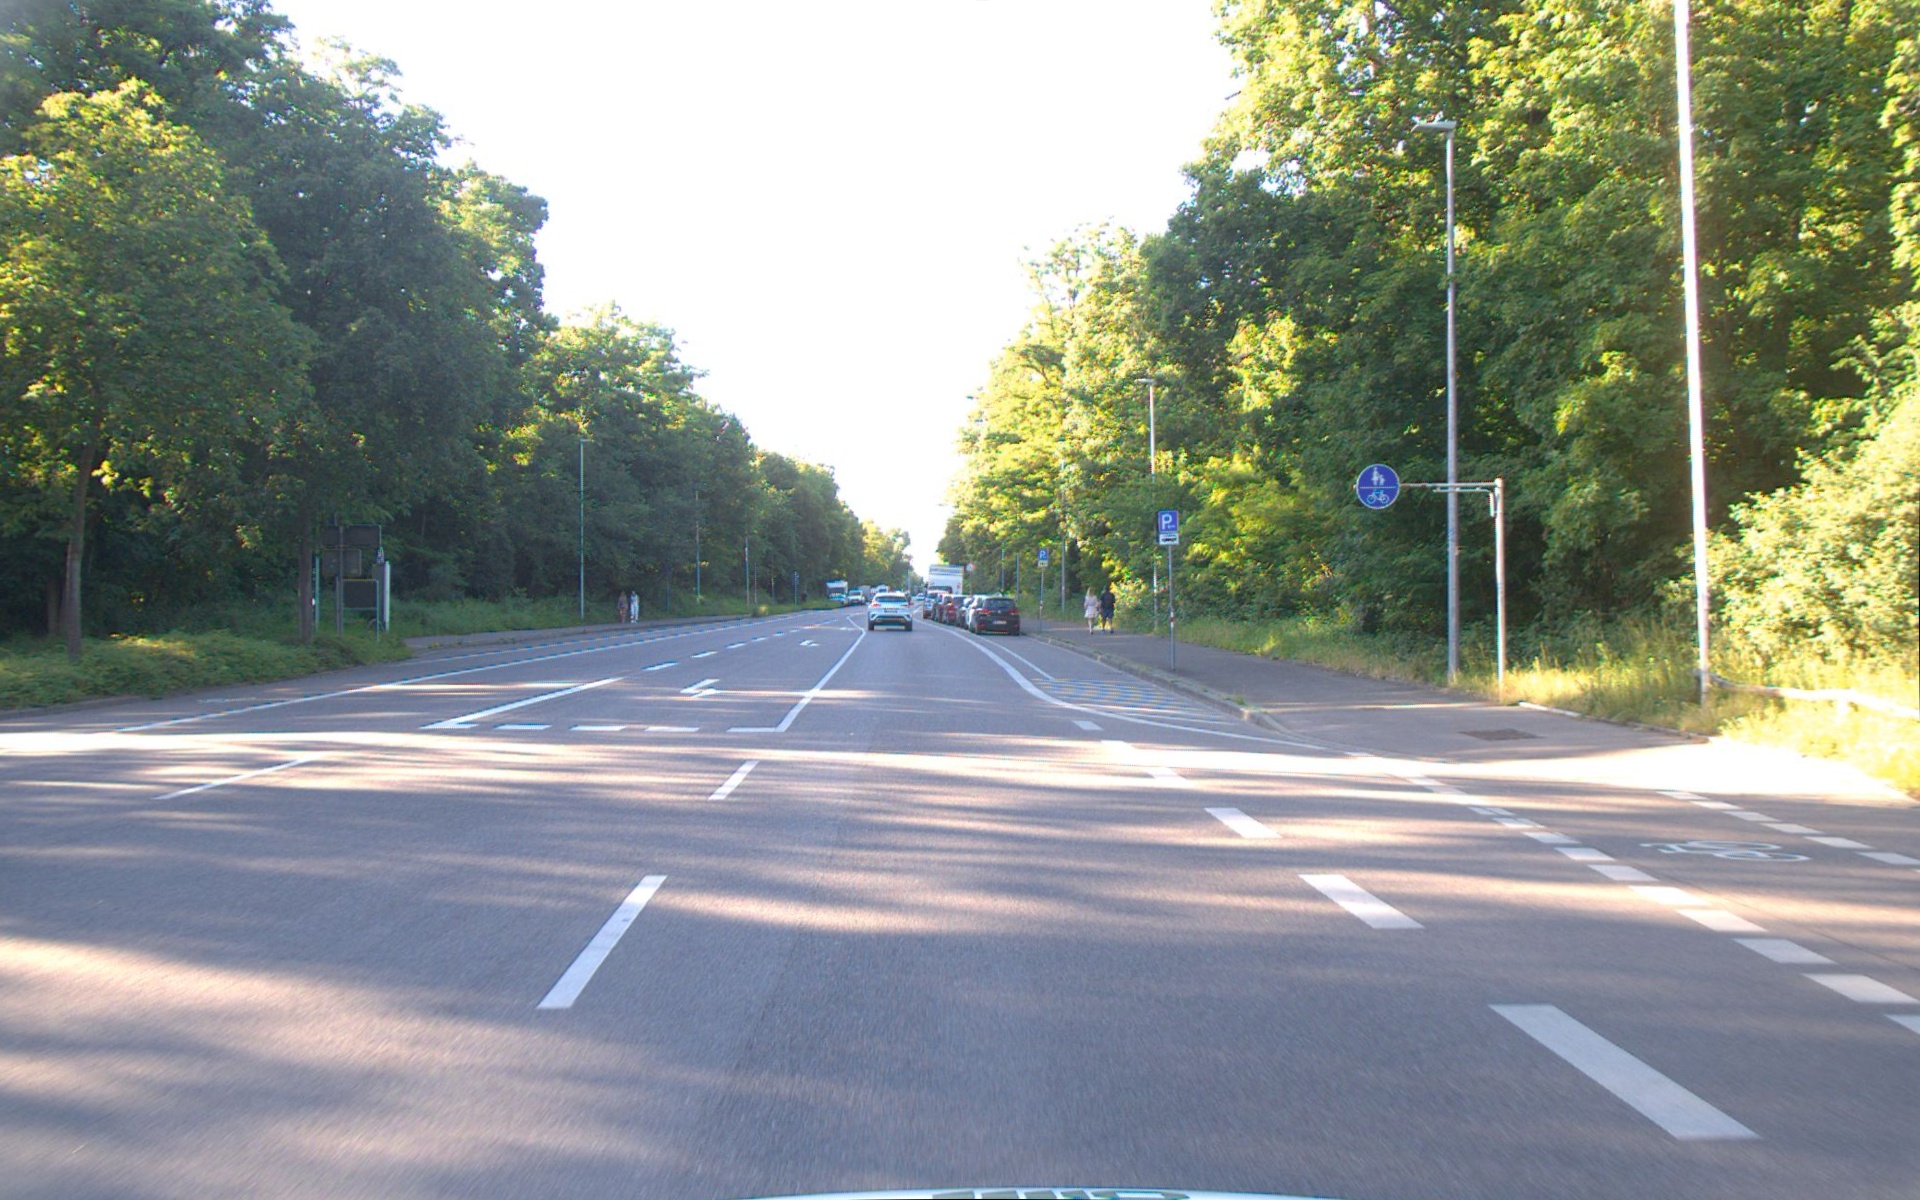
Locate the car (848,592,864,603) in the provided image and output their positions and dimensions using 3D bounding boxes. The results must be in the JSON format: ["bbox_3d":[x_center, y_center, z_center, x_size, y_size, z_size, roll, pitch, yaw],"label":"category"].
[{"bbox_3d":[-13.254,-0.350,211.413,1.953,1.350,3.998,0,0,-2],"label":"car"}]

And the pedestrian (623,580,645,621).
[{"bbox_3d":[-16.328,0.020,82.755,0.814,2.049,1.269,0,0,1],"label":"pedestrian"}]

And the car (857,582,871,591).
[{"bbox_3d":[-13.621,-1.934,234.458,1.953,1.350,3.998,0,0,-2],"label":"car"}]

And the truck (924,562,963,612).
[{"bbox_3d":[-1.302,-0.980,124.657,2.743,3.632,8.032,1,0,-2],"label":"truck"}]

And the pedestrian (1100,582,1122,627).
[{"bbox_3d":[5.550,0.166,60.929,0.728,1.627,0.798,0,0,-1],"label":"pedestrian"}]

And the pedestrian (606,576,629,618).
[{"bbox_3d":[-17.159,-0.150,82.855,0.845,2.049,1.269,0,0,1],"label":"pedestrian"}]

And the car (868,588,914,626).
[{"bbox_3d":[-2.842,0.257,67.777,1.726,1.485,3.815,2,0,-4],"label":"car"}]

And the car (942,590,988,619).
[{"bbox_3d":[0.227,0.211,80.916,1.954,1.350,3.997,0,0,-4],"label":"car"}]

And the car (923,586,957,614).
[{"bbox_3d":[-1.171,-0.037,96.958,1.953,1.583,3.999,0,0,-1],"label":"car"}]

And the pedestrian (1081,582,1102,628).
[{"bbox_3d":[4.825,0.166,60.825,0.684,1.682,0.876,0,0,-1],"label":"pedestrian"}]

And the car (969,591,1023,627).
[{"bbox_3d":[1.396,0.326,65.230,1.953,1.350,3.999,0,0,-1],"label":"car"}]
